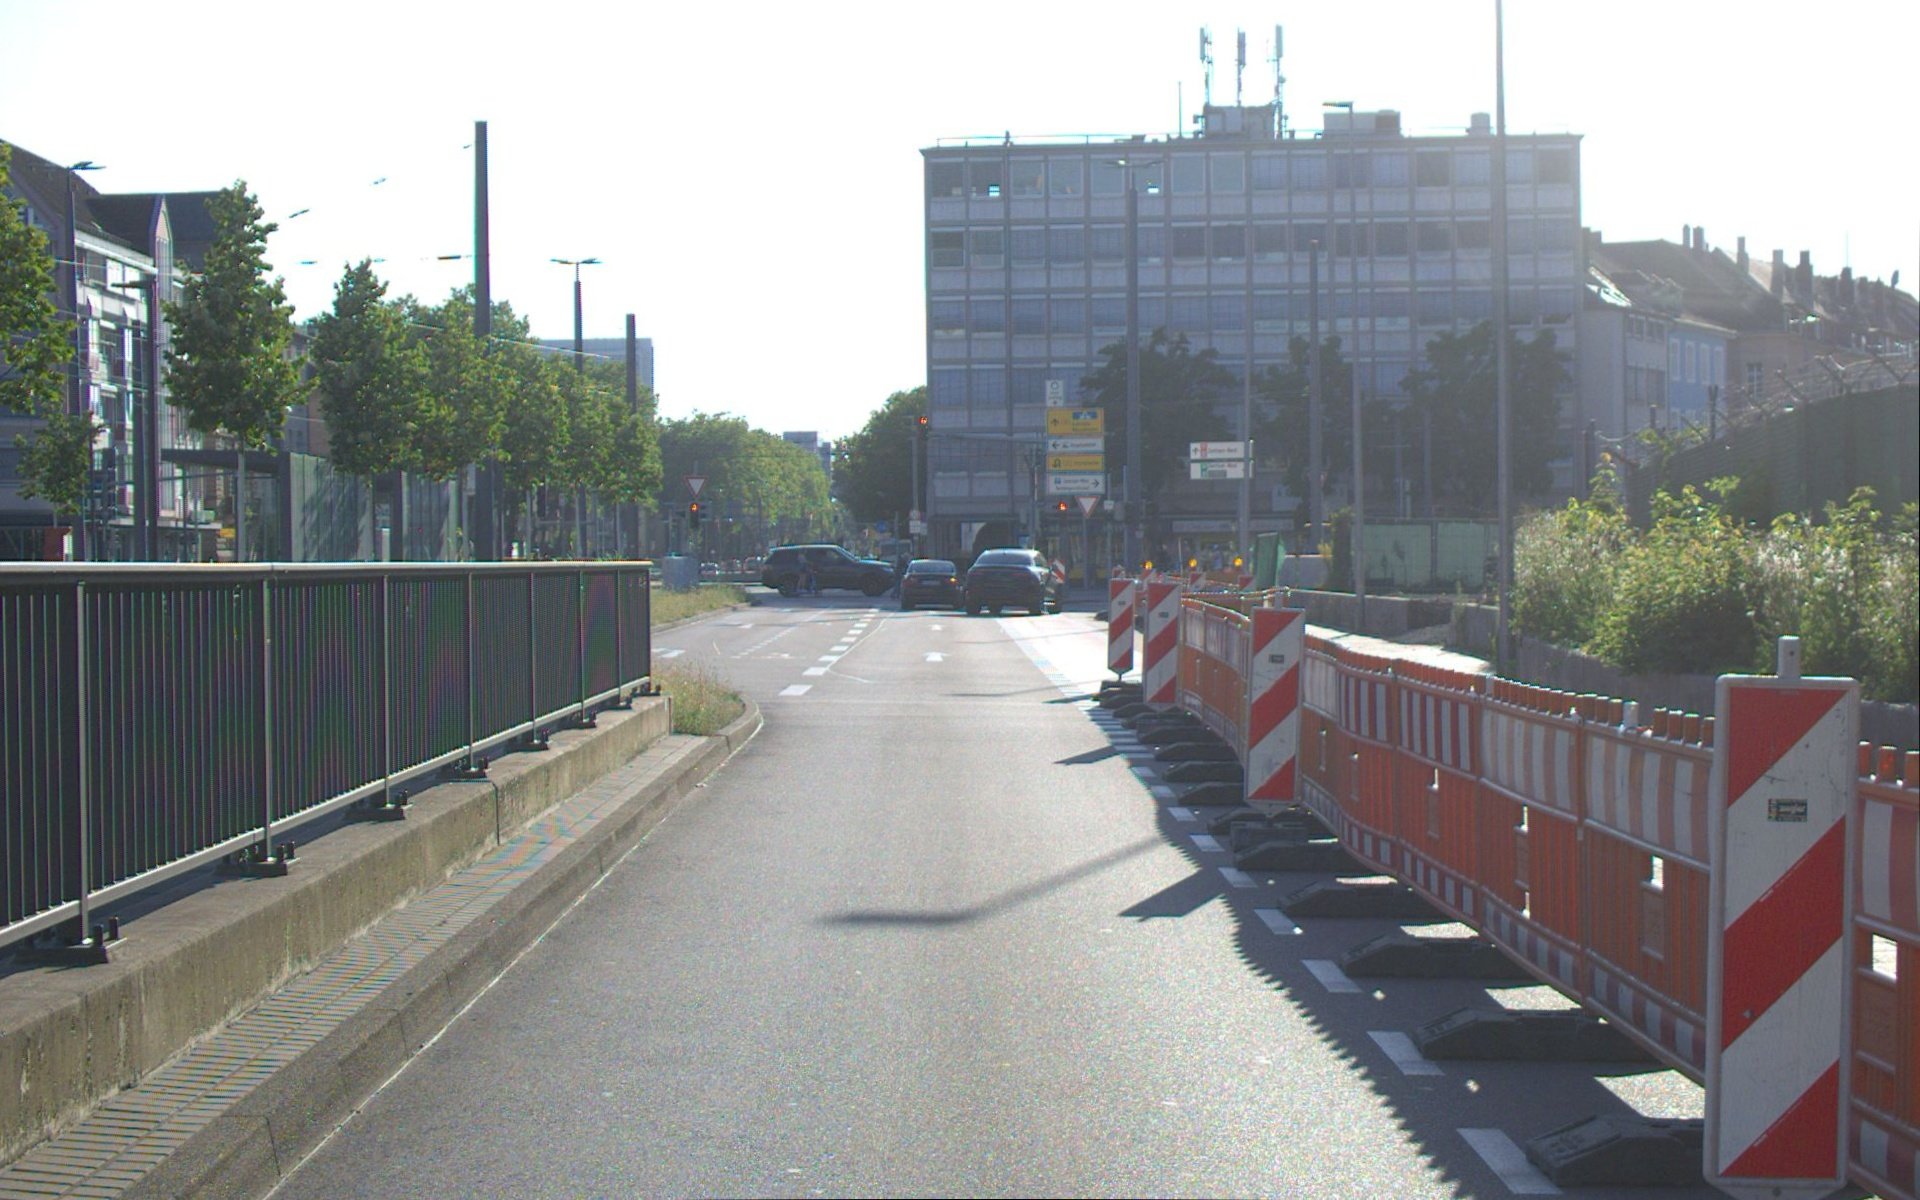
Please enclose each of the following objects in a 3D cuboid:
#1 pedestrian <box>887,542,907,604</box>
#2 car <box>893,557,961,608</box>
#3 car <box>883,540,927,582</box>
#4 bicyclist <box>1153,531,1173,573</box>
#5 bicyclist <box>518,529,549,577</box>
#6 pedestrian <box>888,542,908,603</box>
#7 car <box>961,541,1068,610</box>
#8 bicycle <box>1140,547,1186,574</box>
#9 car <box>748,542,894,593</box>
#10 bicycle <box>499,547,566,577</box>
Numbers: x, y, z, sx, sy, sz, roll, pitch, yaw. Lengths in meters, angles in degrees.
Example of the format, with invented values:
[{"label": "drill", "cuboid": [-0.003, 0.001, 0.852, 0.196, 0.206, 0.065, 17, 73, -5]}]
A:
[{"label": "pedestrian", "cuboid": [-2.077, -0.885, 112.888, 0.613, 2.007, 0.510, 0, 1, 3]}, {"label": "car", "cuboid": [-0.965, -0.512, 98.578, 1.743, 1.421, 4.001, 0, 1, -3]}, {"label": "car", "cuboid": [-3.283, -2.293, 202.881, 2.486, 2.384, 5.935, -2, 0, -1]}, {"label": "bicyclist", "cuboid": [8.312, -1.946, 140.832, 0.663, 1.706, 0.538, -1, 1, -10]}, {"label": "bicyclist", "cuboid": [-14.750, -1.625, 118.859, 0.959, 1.656, 0.691, 0, 1, 3]}, {"label": "pedestrian", "cuboid": [-2.058, -0.892, 113.455, 0.613, 2.007, 0.510, 0, 1, 3]}, {"label": "car", "cuboid": [1.472, -0.676, 91.619, 1.995, 1.687, 3.998, 1, 2, 14]}, {"label": "bicycle", "cuboid": [8.309, -1.624, 140.832, 1.775, 1.068, 0.535, -1, 1, -10]}, {"label": "car", "cuboid": [-4.886, -1.147, 121.062, 4.820, 1.744, 1.999, 0, 1, 11]}, {"label": "bicycle", "cuboid": [-14.781, -1.310, 118.861, 2.226, 1.023, 0.682, 0, 1, 3]}]
